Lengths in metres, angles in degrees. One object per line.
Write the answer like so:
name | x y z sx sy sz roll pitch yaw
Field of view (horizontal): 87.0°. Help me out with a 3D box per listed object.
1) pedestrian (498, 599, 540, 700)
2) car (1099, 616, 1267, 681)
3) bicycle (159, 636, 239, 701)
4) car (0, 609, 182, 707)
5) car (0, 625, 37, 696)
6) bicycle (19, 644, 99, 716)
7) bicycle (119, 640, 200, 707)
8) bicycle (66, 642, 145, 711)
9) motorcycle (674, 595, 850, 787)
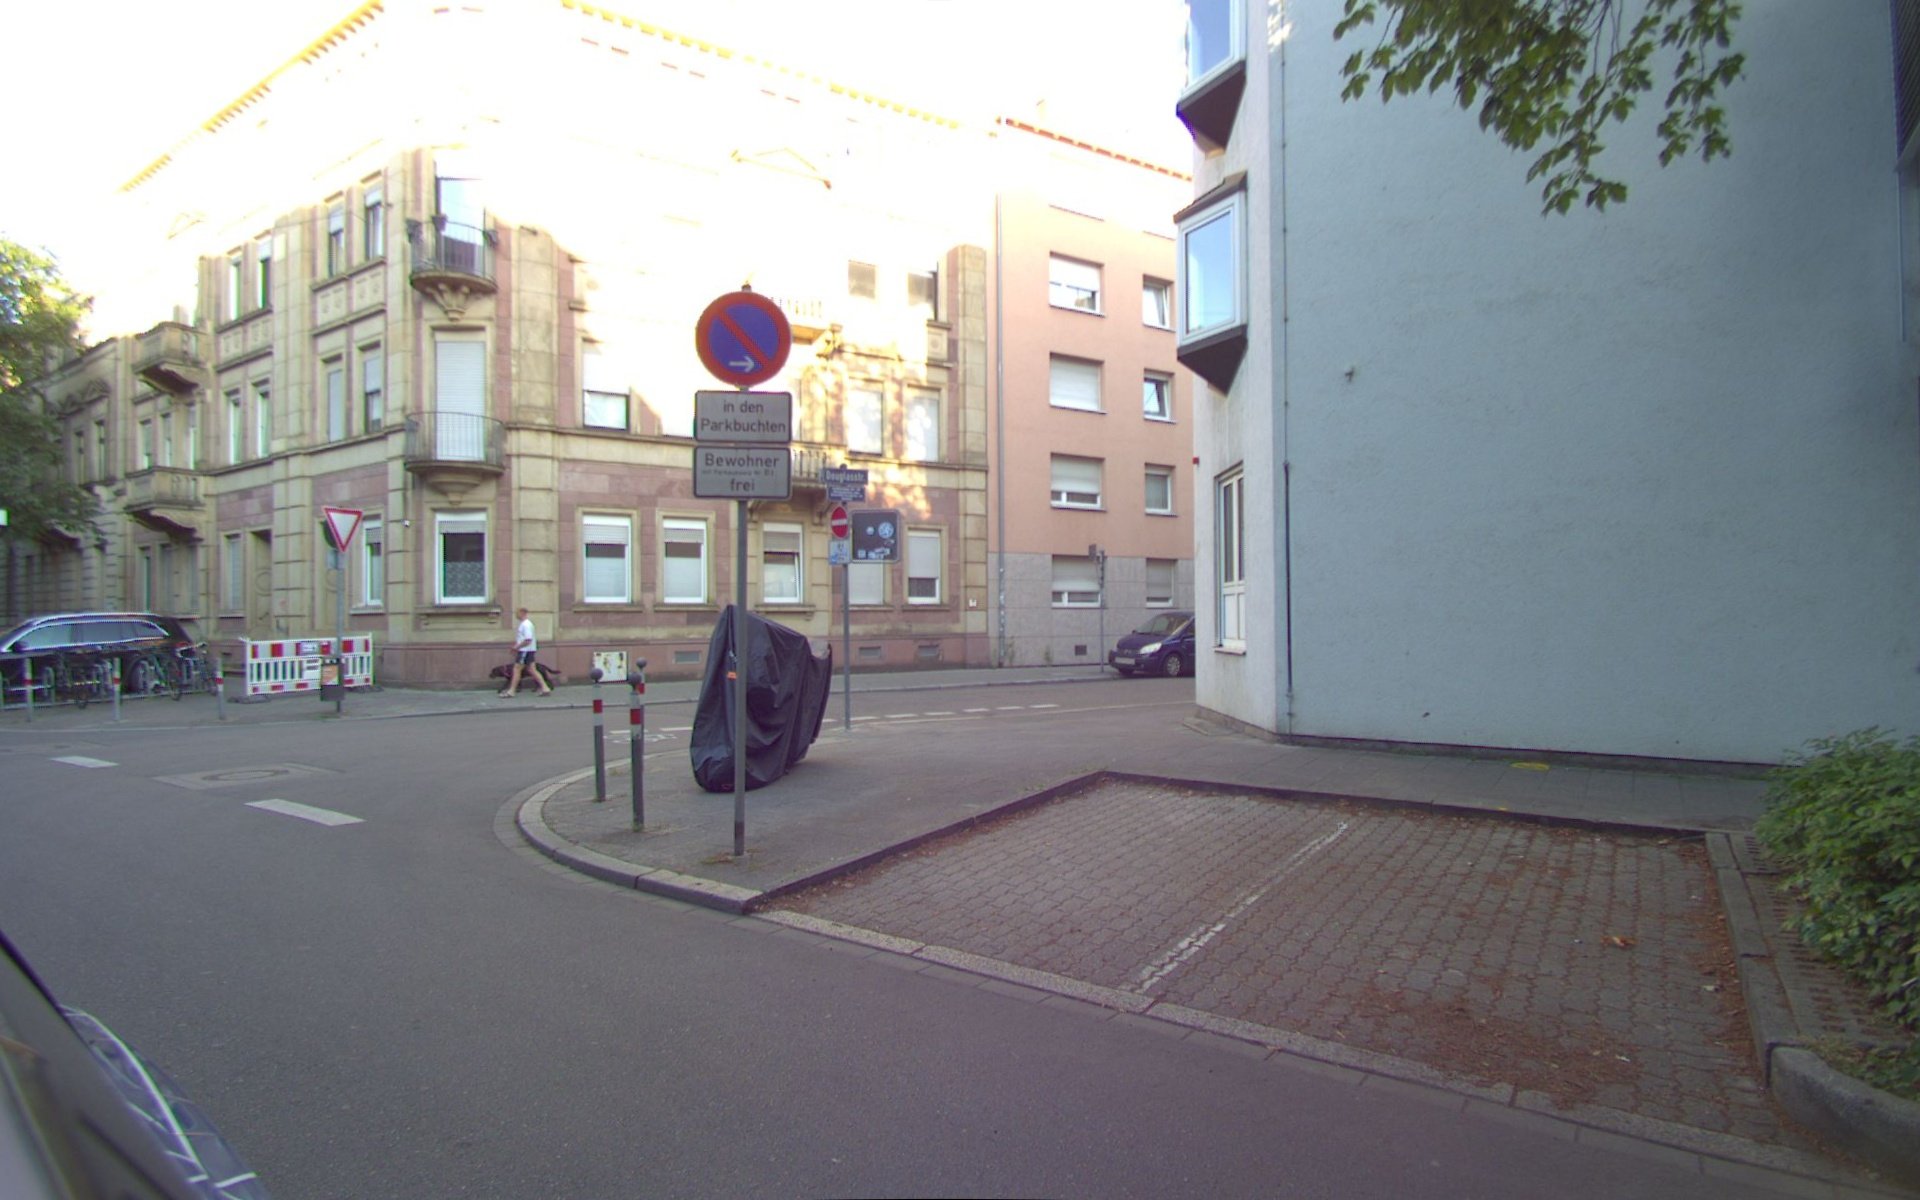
pedestrian | -8.147 0.903 18.703 0.640 1.821 0.575 0 -1 -31
car | 5.749 1.174 25.852 4.297 1.529 1.789 1 -2 -36
bicycle | -14.434 1.276 19.183 2.033 1.159 0.556 -1 -1 33
car | -17.891 1.090 19.464 1.740 1.795 4.367 -1 -2 39
car | -24.293 1.435 23.389 1.740 1.690 4.190 -1 -2 39
bicycle | -15.612 1.358 17.522 2.034 1.159 0.555 -1 -1 34
bicycle | -14.788 1.337 18.679 2.033 1.159 0.556 -1 -1 33
bicycle | -15.259 1.335 18.051 2.034 1.159 0.555 -1 -1 34
motorcycle | -1.713 0.746 9.201 0.809 1.516 2.276 -1 -1 10
